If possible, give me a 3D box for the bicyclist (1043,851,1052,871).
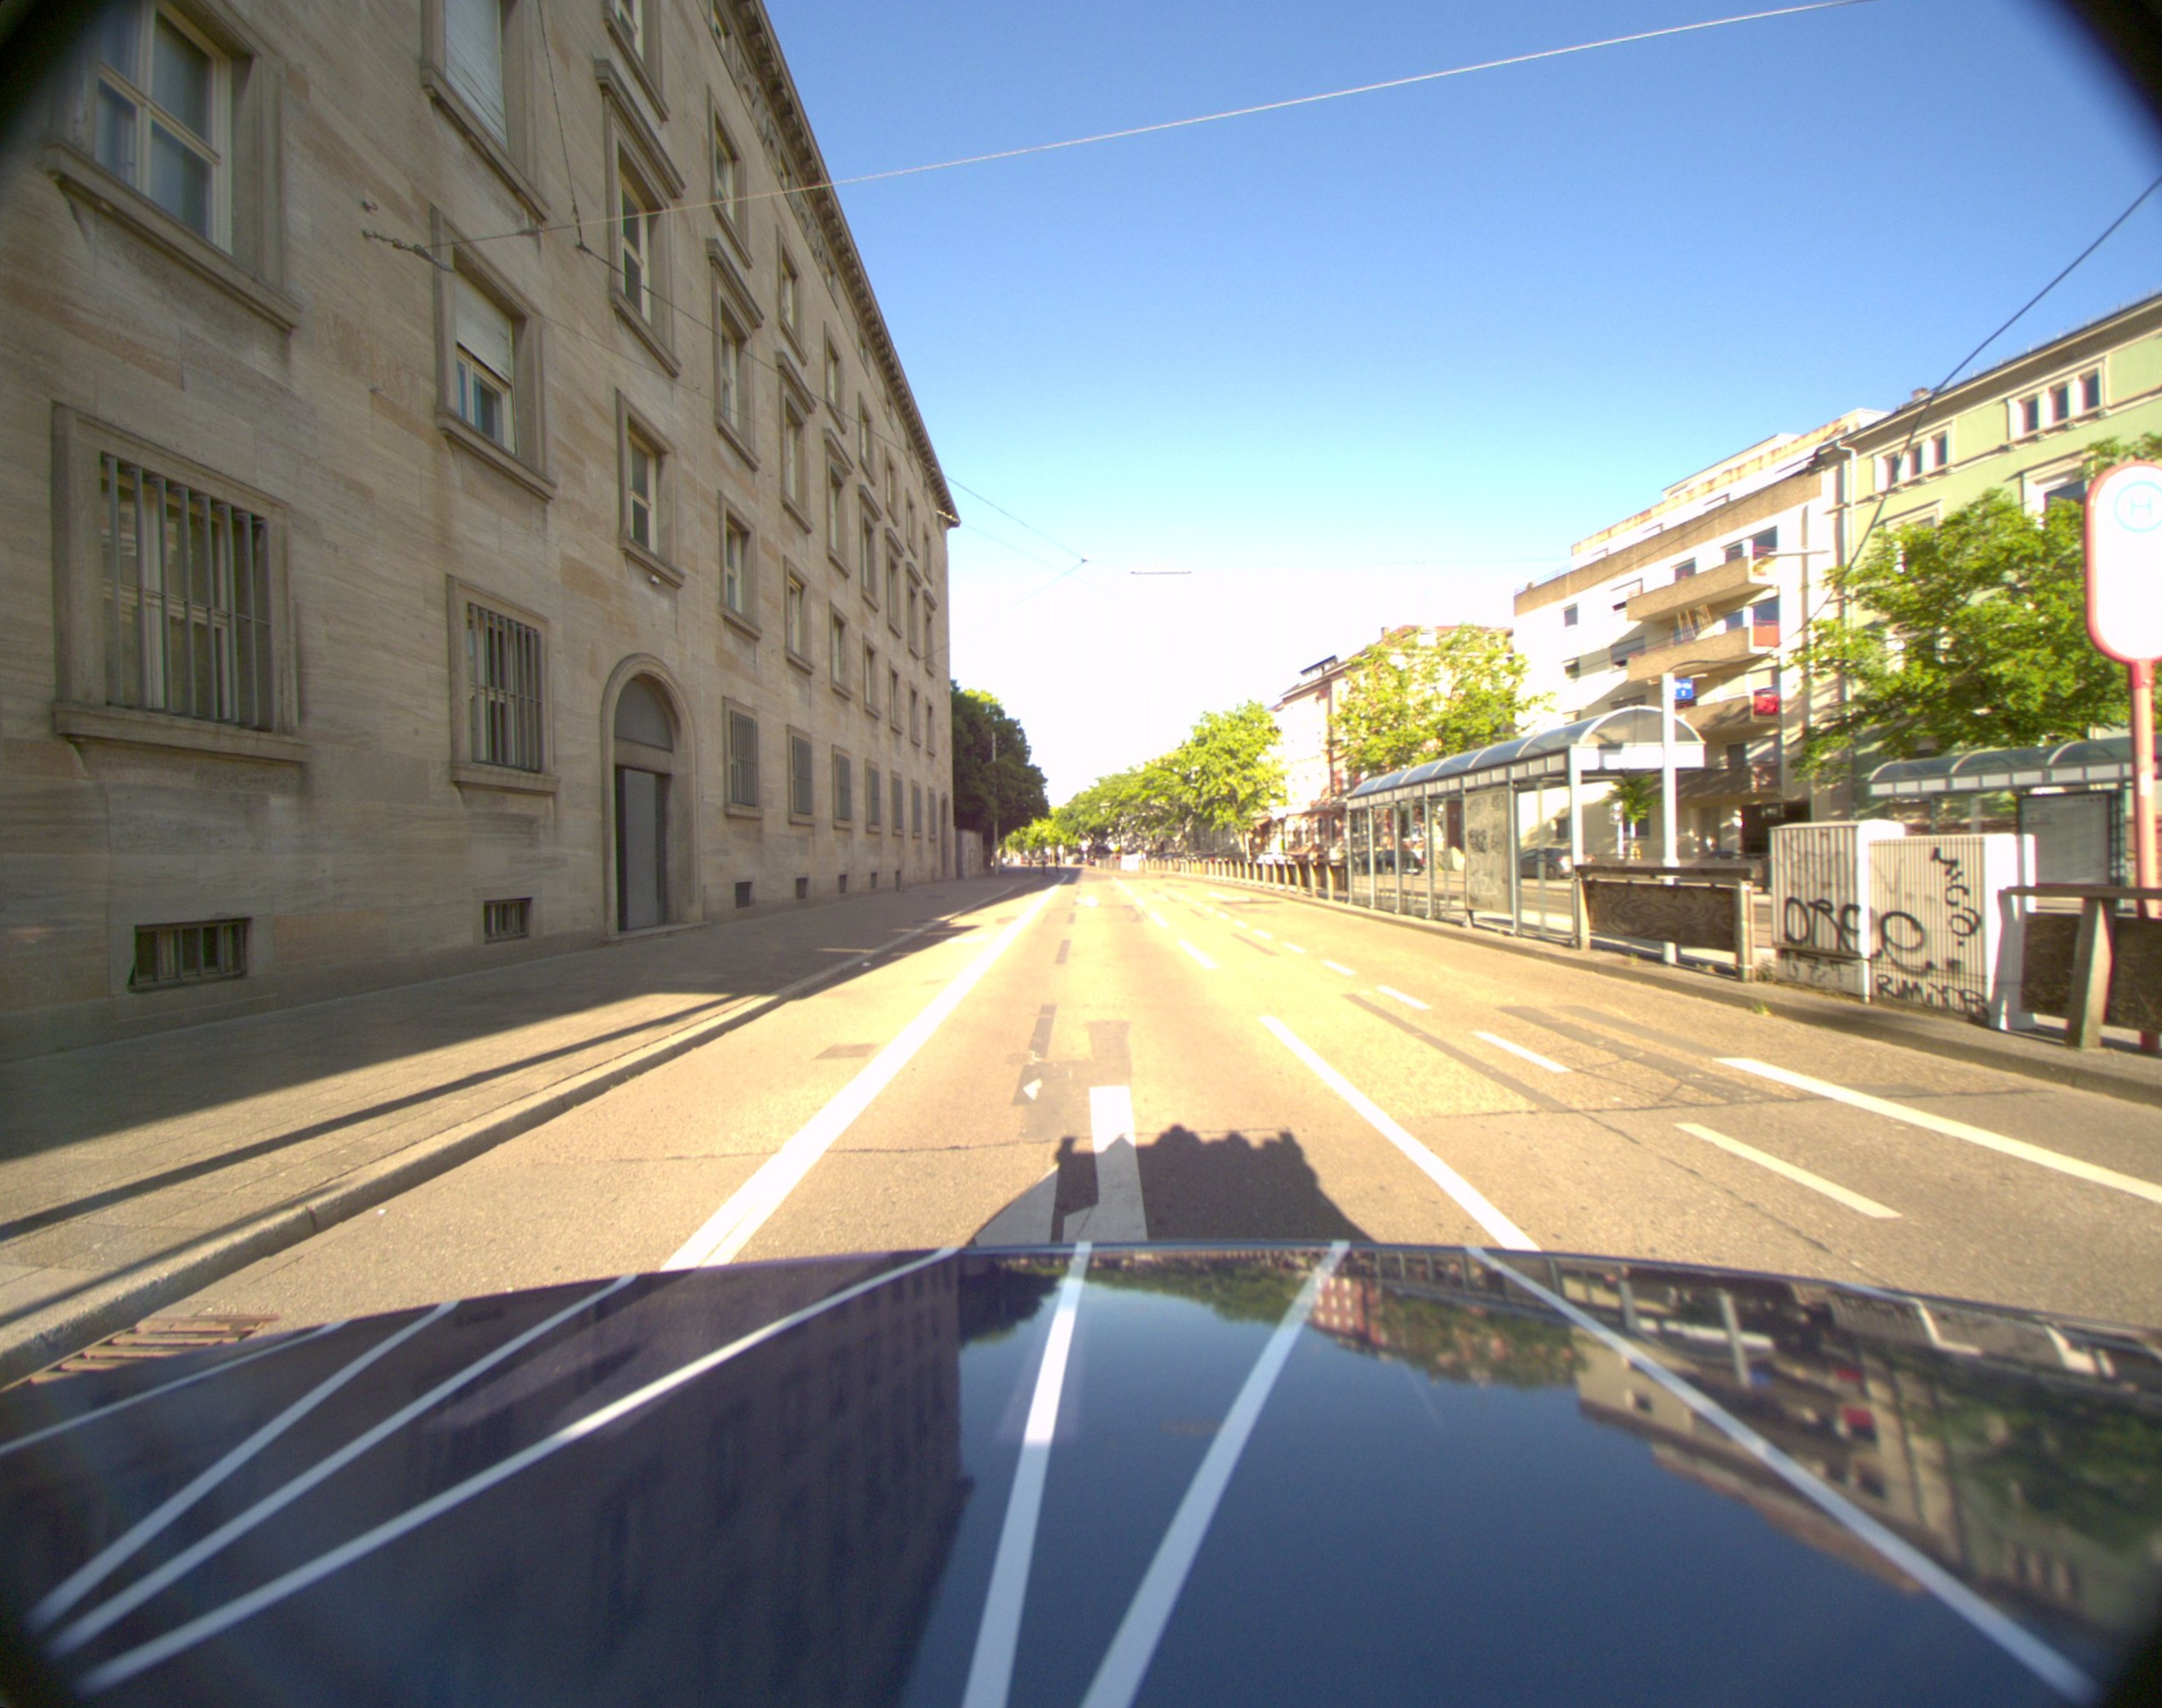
[{"bbox_3d":[-3.001,0.621,68.260,0.625,1.729,0.688,-3,1,1],"label":"bicyclist"}]

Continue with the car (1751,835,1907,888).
[{"bbox_3d":[23.931,0.216,24.342,4.002,1.573,1.761,-1,0,-14],"label":"car"}]

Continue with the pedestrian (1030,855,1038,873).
[{"bbox_3d":[-3.640,0.770,58.864,0.548,1.327,0.587,-1,1,7],"label":"pedestrian"}]

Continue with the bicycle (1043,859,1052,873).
[{"bbox_3d":[-2.976,1.078,68.178,0.625,1.214,1.659,-3,1,1],"label":"bicycle"}]

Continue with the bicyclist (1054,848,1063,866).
[{"bbox_3d":[-1.994,0.289,68.009,0.728,1.570,0.775,0,1,1],"label":"bicyclist"}]

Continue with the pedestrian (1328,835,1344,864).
[{"bbox_3d":[19.348,-0.313,57.656,0.813,2.194,0.756,-1,1,-10],"label":"pedestrian"}]

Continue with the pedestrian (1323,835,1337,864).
[{"bbox_3d":[19.428,-0.335,59.303,0.812,2.194,0.756,-1,1,-4],"label":"pedestrian"}]

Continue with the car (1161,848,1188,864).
[{"bbox_3d":[8.463,0.189,68.893,1.670,1.400,3.877,0,0,-5],"label":"car"}]

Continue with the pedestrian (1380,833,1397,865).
[{"bbox_3d":[21.215,-0.326,52.392,0.813,2.194,0.756,-1,1,-10],"label":"pedestrian"}]

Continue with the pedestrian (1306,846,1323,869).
[{"bbox_3d":[16.715,0.254,54.468,0.868,1.619,0.891,-1,1,-10],"label":"pedestrian"}]

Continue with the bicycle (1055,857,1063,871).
[{"bbox_3d":[-1.990,0.904,67.881,0.625,1.167,1.566,0,0,1],"label":"bicycle"}]

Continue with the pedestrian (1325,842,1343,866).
[{"bbox_3d":[18.457,-0.005,55.398,0.855,1.710,1.019,-1,1,-9],"label":"pedestrian"}]

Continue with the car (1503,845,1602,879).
[{"bbox_3d":[20.942,0.322,33.953,1.654,1.419,3.737,-1,0,-11],"label":"car"}]

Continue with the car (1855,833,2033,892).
[{"bbox_3d":[24.730,0.214,21.802,4.002,1.573,1.761,-1,0,-14],"label":"car"}]

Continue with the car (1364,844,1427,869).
[{"bbox_3d":[18.460,0.120,44.765,1.609,1.388,3.996,-1,0,-9],"label":"car"}]

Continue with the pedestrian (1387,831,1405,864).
[{"bbox_3d":[21.306,-0.439,51.363,0.813,2.194,0.756,-1,1,-10],"label":"pedestrian"}]

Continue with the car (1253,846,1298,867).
[{"bbox_3d":[16.300,0.172,63.578,4.134,1.698,1.848,-1,1,-45],"label":"car"}]

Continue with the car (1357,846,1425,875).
[{"bbox_3d":[16.627,0.331,40.937,1.648,1.480,3.997,-1,0,-7],"label":"car"}]
